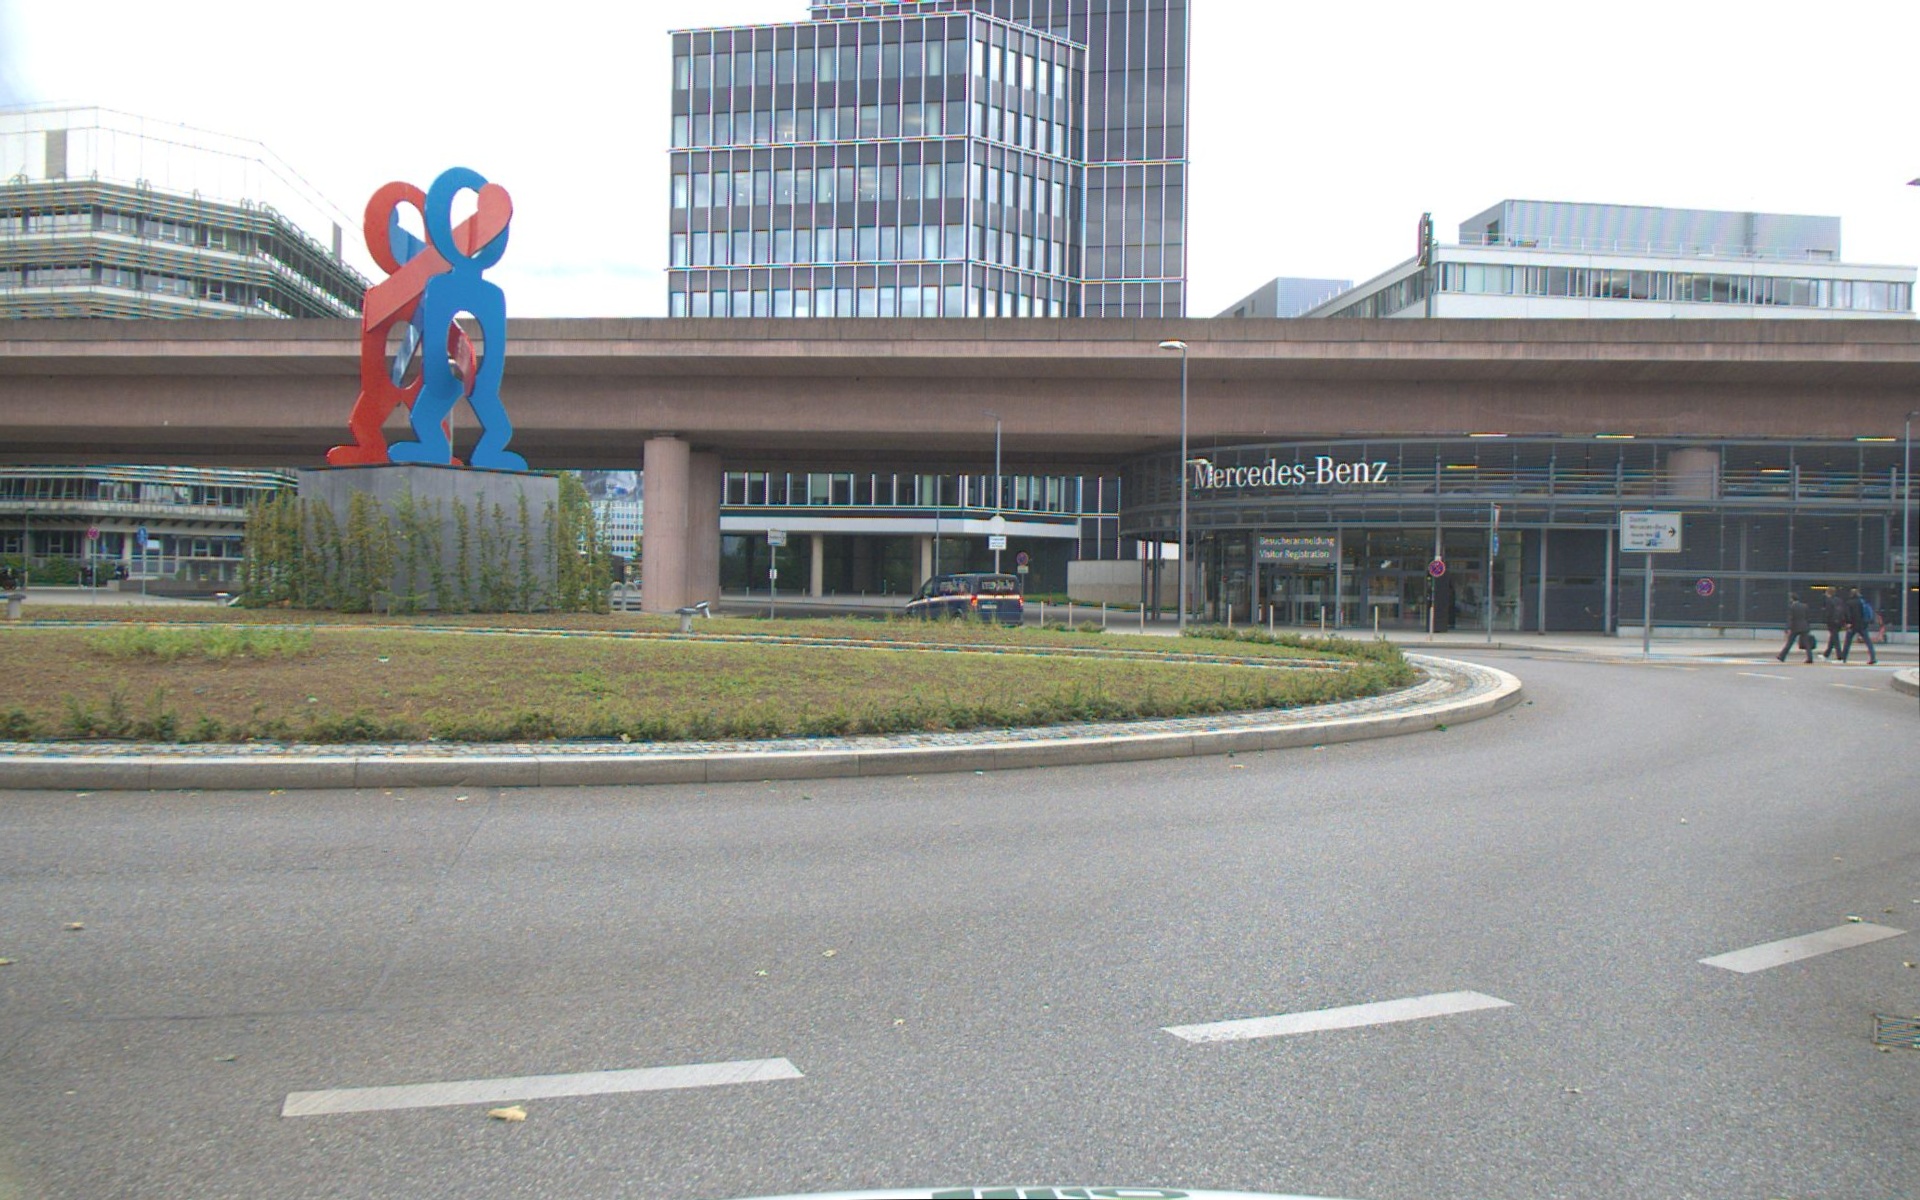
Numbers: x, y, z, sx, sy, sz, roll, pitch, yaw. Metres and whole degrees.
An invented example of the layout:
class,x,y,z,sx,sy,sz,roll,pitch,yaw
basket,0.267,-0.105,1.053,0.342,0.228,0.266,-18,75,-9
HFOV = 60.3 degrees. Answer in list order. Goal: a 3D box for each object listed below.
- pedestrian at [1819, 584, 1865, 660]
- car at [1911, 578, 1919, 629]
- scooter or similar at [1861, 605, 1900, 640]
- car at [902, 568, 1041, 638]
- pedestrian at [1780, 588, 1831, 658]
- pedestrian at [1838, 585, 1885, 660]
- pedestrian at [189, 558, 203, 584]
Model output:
class,x,y,z,sx,sy,sz,roll,pitch,yaw
pedestrian,20.926,0.523,39.252,0.813,1.771,0.690,2,0,17
car,38.504,0.181,62.520,3.902,1.937,2.001,1,0,6
scooter or similar,33.465,0.820,60.136,1.204,1.215,0.356,2,0,5
car,0.295,0.064,51.204,2.251,2.049,4.737,2,0,-29
pedestrian,19.904,0.533,38.956,0.814,1.597,0.690,2,0,0
pedestrian,21.668,0.531,39.767,0.813,1.771,0.691,2,0,13
pedestrian,-60.446,-2.306,130.870,0.762,2.049,0.669,1,0,-10
